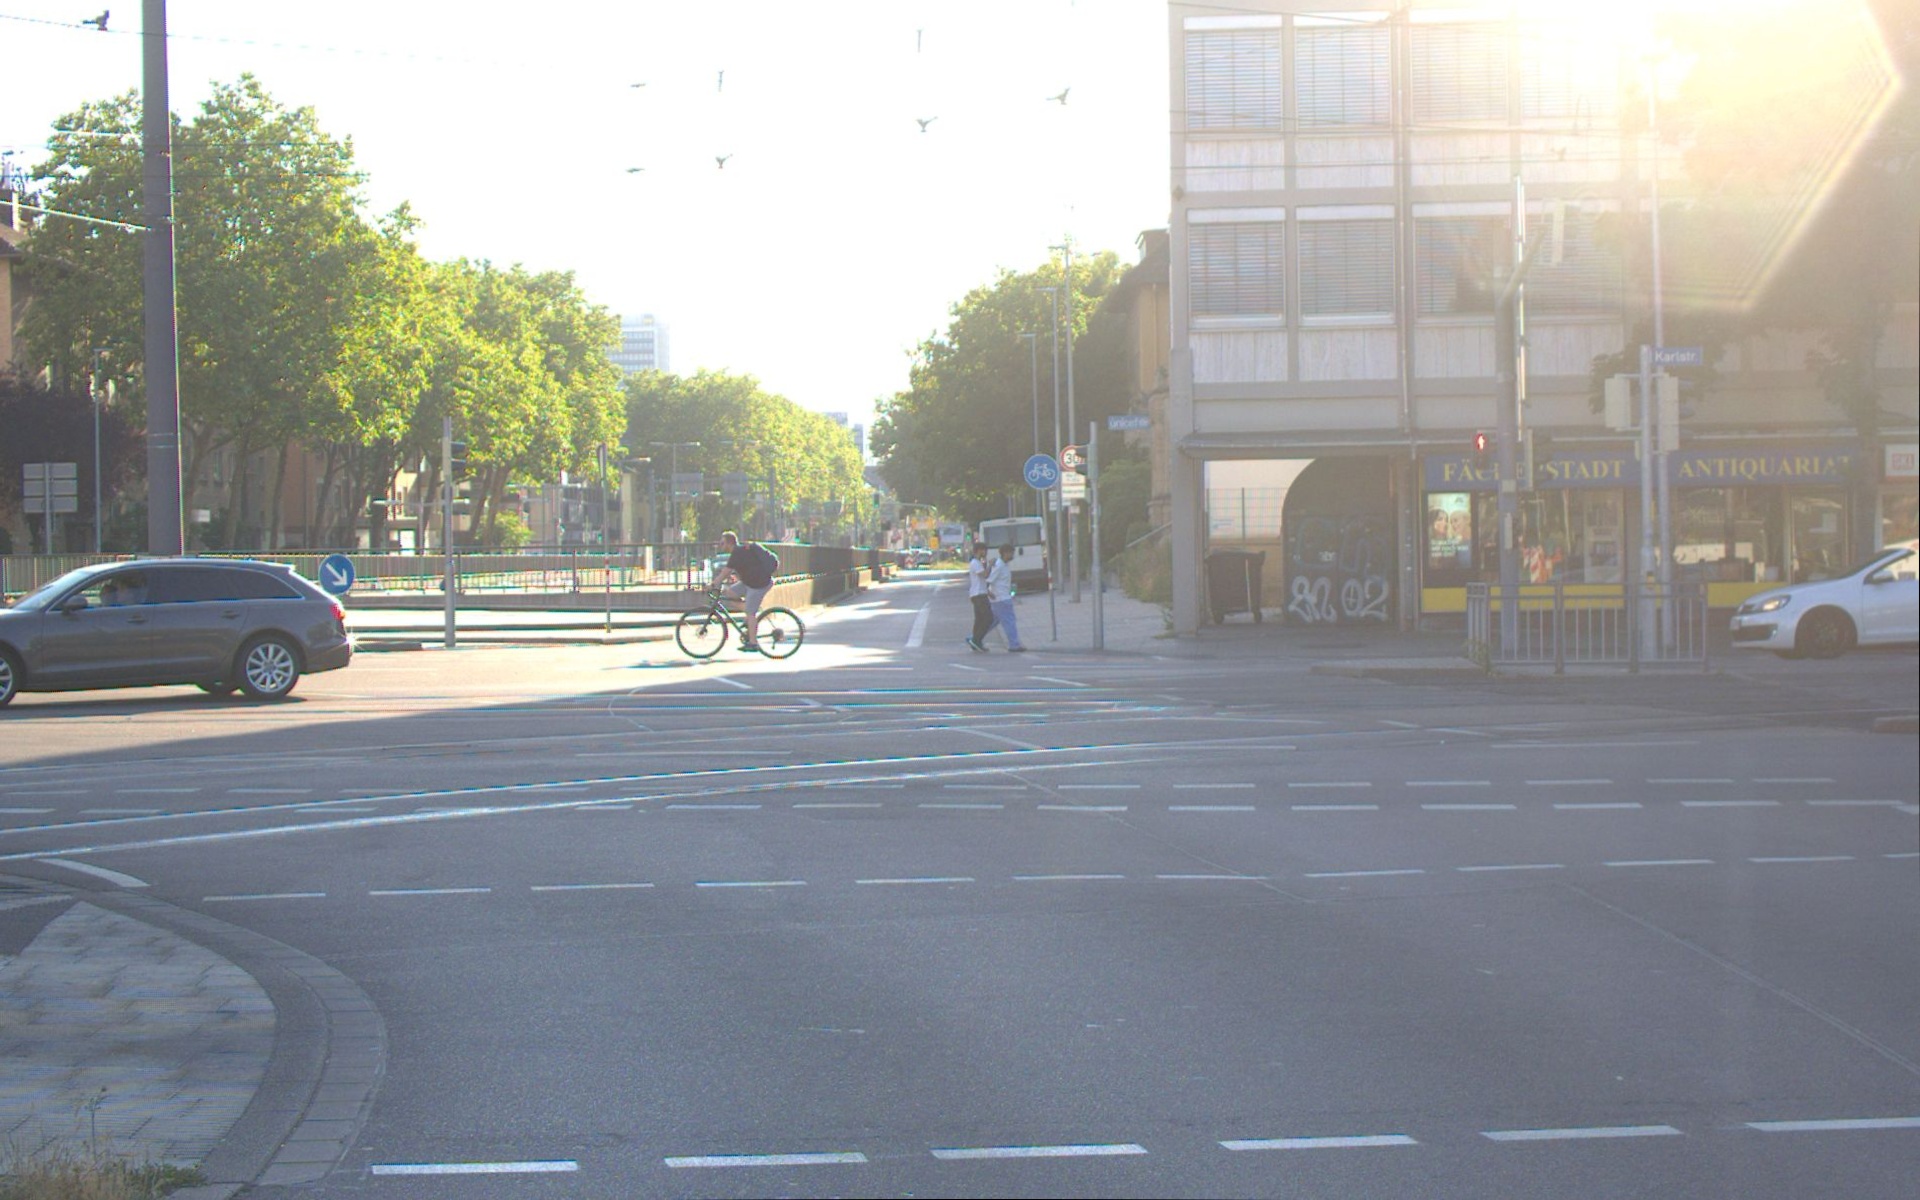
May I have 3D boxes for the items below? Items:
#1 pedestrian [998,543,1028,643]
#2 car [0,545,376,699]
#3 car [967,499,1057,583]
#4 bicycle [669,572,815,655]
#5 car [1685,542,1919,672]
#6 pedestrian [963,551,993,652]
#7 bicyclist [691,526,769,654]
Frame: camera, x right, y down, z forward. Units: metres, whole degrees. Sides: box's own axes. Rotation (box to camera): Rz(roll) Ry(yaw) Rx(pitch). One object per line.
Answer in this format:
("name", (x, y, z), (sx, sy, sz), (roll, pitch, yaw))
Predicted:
("pedestrian", (0.813, -0.111, 52.608), (0.365, 1.502, 0.543), (-1, 1, -7))
("car", (-8.754, 0.202, 35.602), (4.920, 1.474, 2.000), (-1, 1, -31))
("car", (1.546, -1.775, 104.626), (2.486, 2.384, 5.935), (-2, 1, -1))
("bicycle", (-2.991, 0.177, 47.142), (1.972, 1.094, 0.677), (-1, 1, -4))
("car", (11.220, 0.059, 40.757), (4.921, 1.474, 2.000), (-1, 1, 6))
("pedestrian", (0.269, 0.013, 51.544), (0.365, 1.502, 0.543), (-1, 1, -7))
("bicyclist", (-3.149, -0.142, 47.043), (1.040, 1.733, 0.678), (-1, 1, -4))
